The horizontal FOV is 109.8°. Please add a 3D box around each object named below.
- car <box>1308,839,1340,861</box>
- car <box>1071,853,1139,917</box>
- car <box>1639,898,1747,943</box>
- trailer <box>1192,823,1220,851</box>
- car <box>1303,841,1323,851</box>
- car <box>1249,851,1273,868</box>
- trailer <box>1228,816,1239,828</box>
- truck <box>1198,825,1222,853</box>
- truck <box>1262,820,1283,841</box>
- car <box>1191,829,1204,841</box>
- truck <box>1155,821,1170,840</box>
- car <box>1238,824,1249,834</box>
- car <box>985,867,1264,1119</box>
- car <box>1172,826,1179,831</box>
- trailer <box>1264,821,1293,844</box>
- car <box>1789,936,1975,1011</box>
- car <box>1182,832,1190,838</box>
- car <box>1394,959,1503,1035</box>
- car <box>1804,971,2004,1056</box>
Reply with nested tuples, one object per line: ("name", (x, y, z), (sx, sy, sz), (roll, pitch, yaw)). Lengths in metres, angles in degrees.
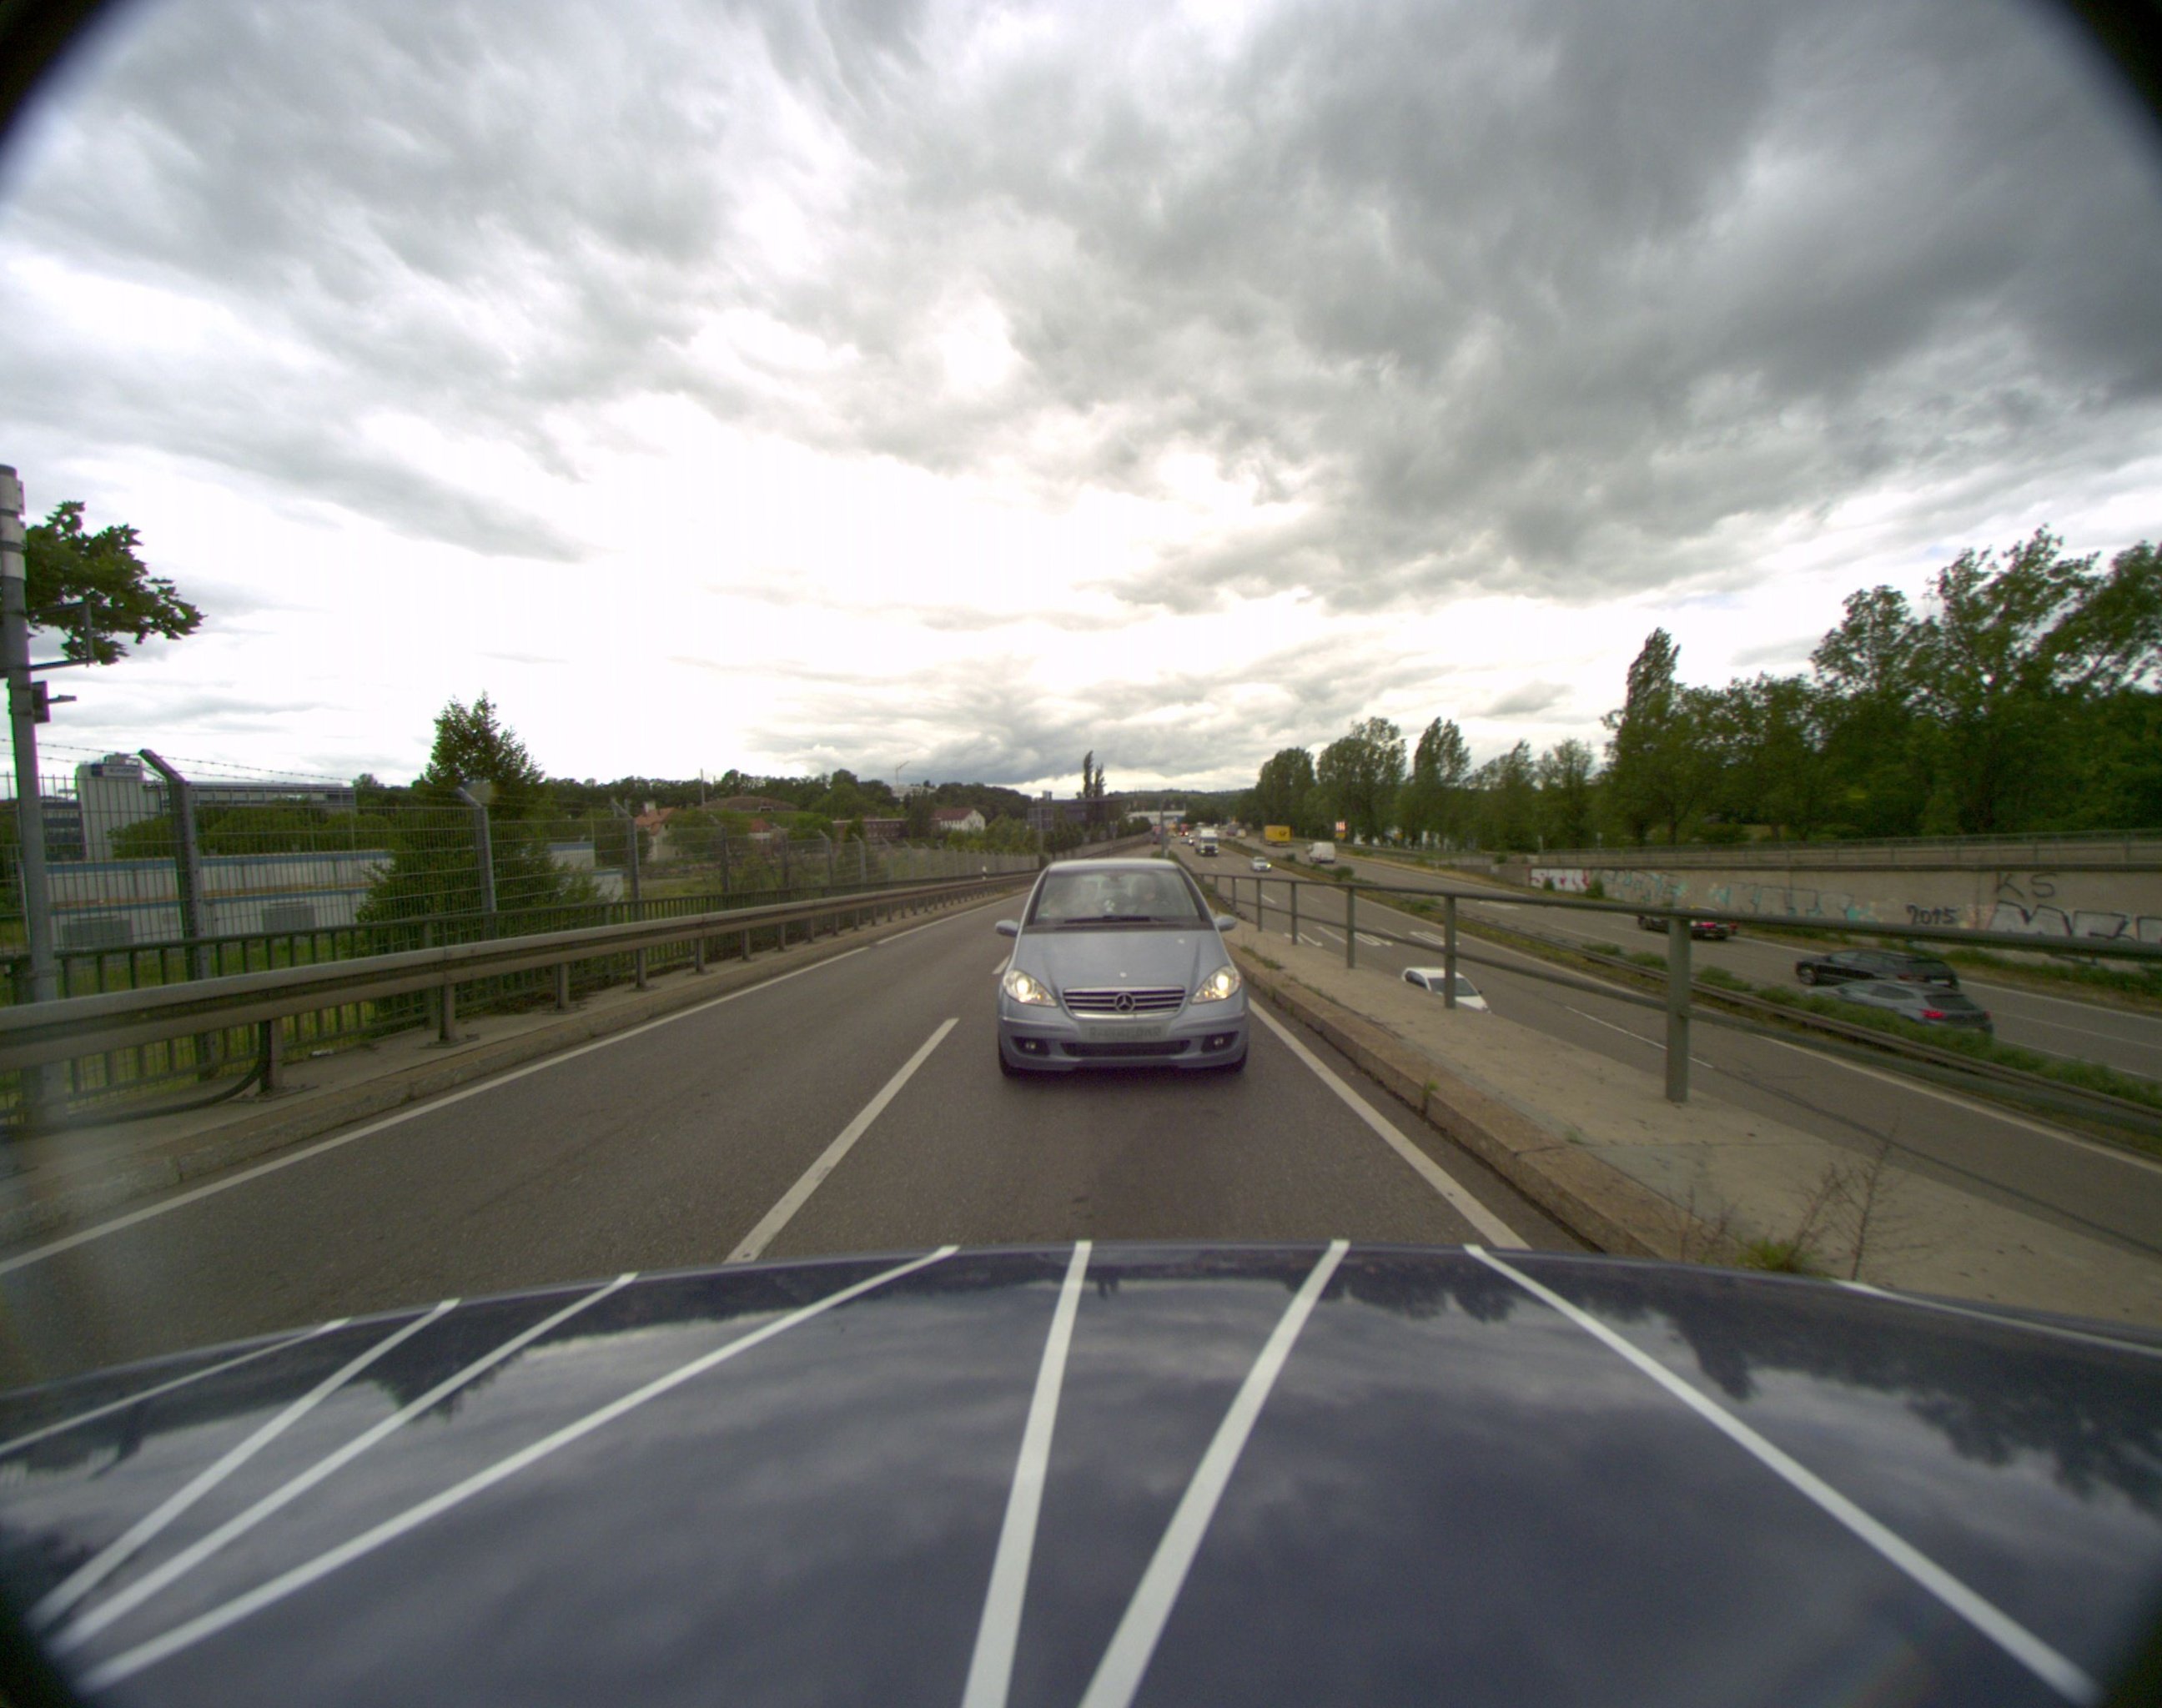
("car", (30.947, -0.573, 97.051), (2.172, 2.580, 6.099), (-1, 3, 1))
("car", (0.693, 0.897, 23.145), (1.830, 1.701, 4.001), (-2, -1, 1))
("car", (30.706, 3.271, 38.344), (1.864, 1.643, 4.632), (0, 3, 3))
("trailer", (20.109, -2.895, 123.164), (3.010, 4.087, 13.985), (0, 3, 4))
("car", (36.296, -1.312, 119.051), (1.872, 1.449, 4.151), (-1, 3, 1))
("car", (20.117, 0.594, 85.125), (1.854, 1.562, 4.436), (-1, 4, 2))
("trailer", (52.868, -11.186, 264.049), (2.792, 4.117, 13.763), (-1, 3, 7))
("truck", (19.642, -2.407, 115.983), (3.010, 4.087, 5.872), (0, 3, 4))
("truck", (39.728, -4.868, 157.716), (3.247, 4.159, 5.803), (0, 3, 5))
("car", (24.392, -4.052, 159.089), (2.104, 2.231, 6.498), (0, 3, 3))
("truck", (18.392, -5.363, 172.298), (3.101, 3.990, 8.487), (-1, 4, 5))
("car", (46.551, -7.203, 218.147), (1.998, 2.614, 6.711), (1, 3, 3))
("car", (0.307, 0.915, 6.791), (1.743, 1.534, 3.993), (-1, 0, 1))
("car", (30.020, -8.067, 240.992), (1.810, 1.658, 3.999), (-1, 3, 4))
("trailer", (39.132, -4.433, 151.049), (3.247, 4.239, 13.678), (0, 3, 5))
("car", (27.048, 3.978, 25.912), (1.886, 1.709, 4.180), (-1, 3, 1))
("car", (23.903, -4.326, 173.057), (1.512, 1.365, 3.536), (0, 3, 3))
("car", (11.012, 4.258, 23.016), (1.769, 1.520, 3.335), (0, 3, 3))
("car", (23.150, 4.439, 21.595), (1.718, 1.446, 3.649), (-1, 3, 2))
